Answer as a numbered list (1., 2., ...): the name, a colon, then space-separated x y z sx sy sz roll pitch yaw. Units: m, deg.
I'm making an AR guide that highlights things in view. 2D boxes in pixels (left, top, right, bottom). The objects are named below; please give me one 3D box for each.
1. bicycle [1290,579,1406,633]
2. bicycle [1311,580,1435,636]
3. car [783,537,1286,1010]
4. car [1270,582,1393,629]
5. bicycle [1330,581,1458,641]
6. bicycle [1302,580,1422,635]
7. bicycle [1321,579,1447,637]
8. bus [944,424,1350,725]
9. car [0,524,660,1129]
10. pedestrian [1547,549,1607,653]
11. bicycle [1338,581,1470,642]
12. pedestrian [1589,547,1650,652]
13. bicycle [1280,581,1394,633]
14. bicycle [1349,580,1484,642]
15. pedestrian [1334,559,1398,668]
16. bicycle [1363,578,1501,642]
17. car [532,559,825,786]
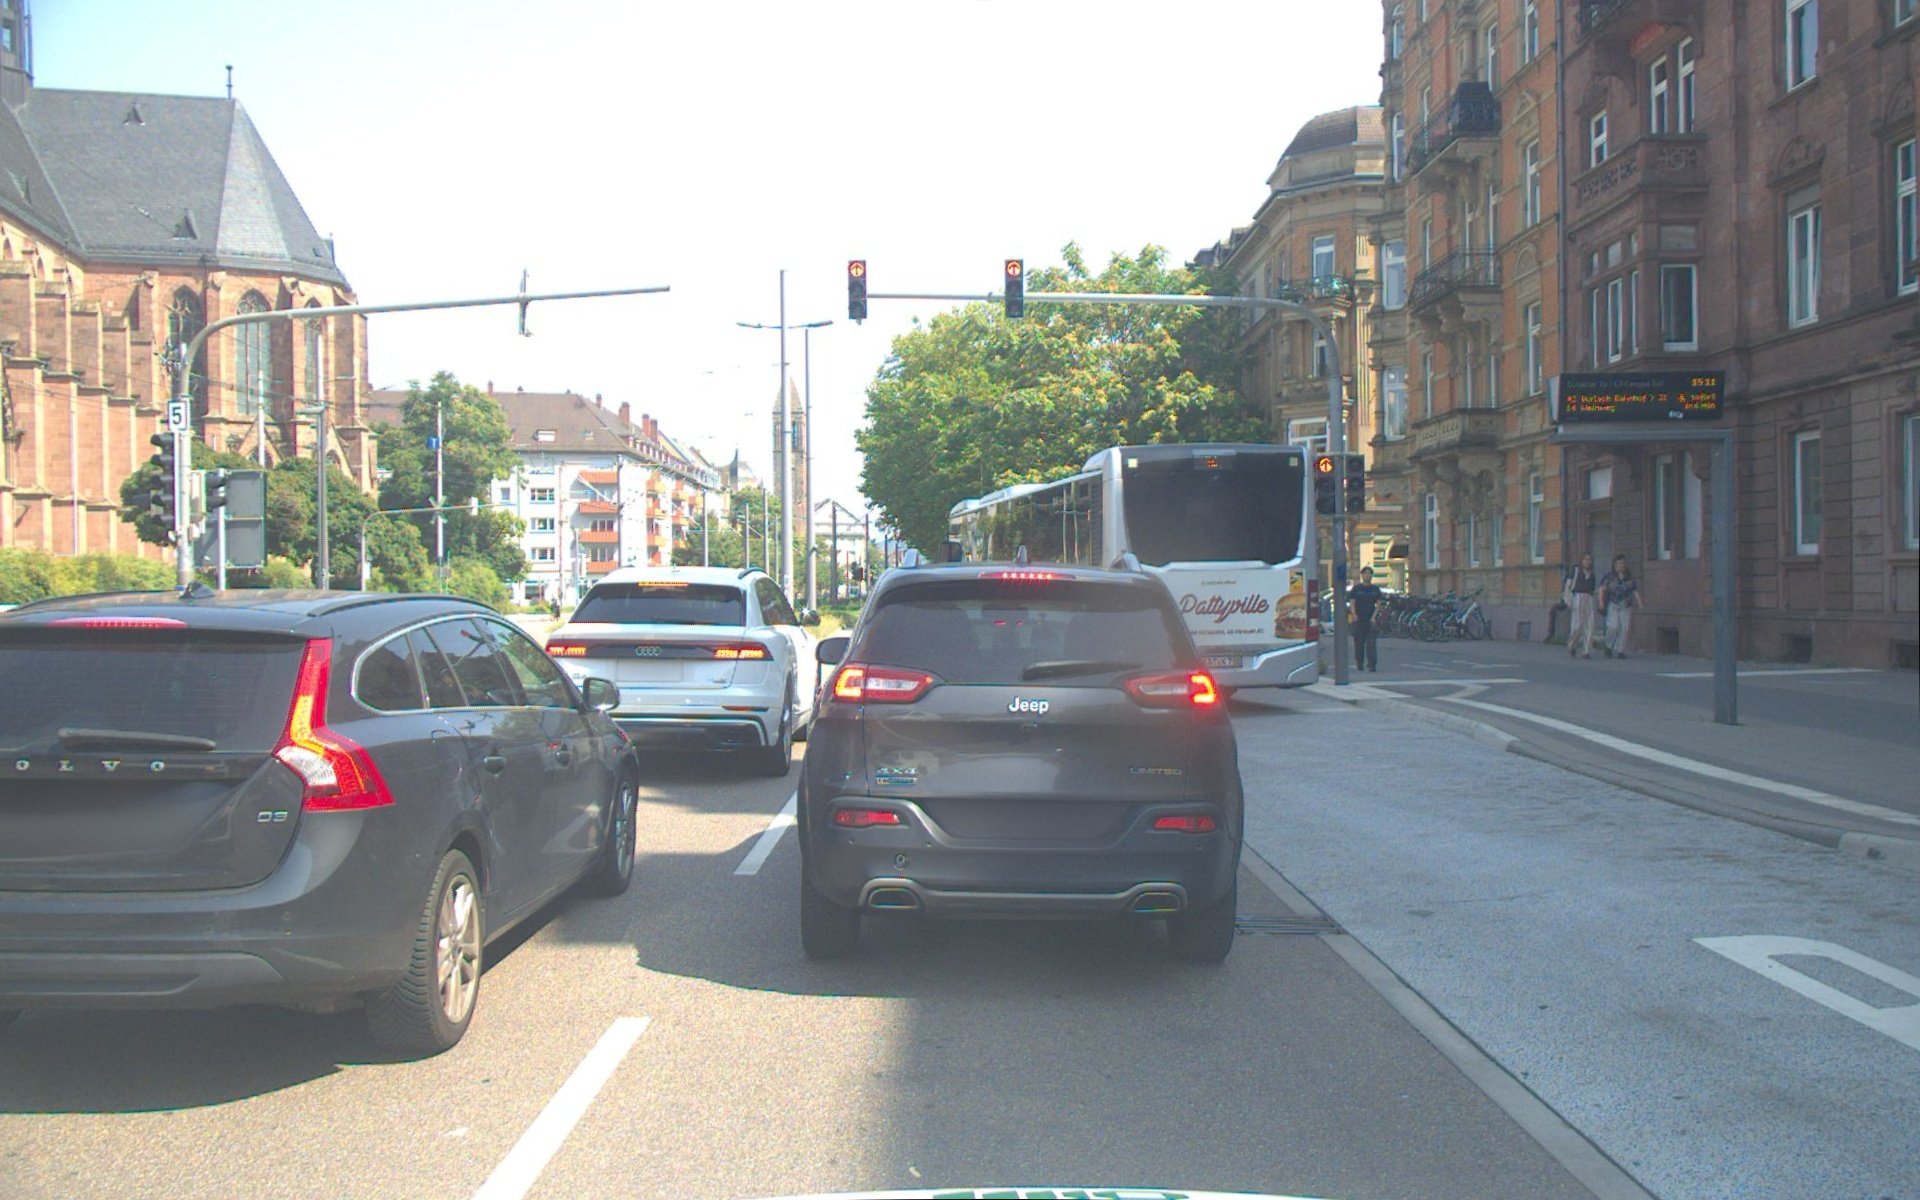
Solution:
1. bicycle: 10.602 0.167 45.283 2.943 1.397 0.947 -1 0 -2
2. bicycle: 10.710 0.197 42.957 2.943 1.397 0.947 -1 0 -2
3. car: 0.284 0.610 8.109 1.795 1.680 4.308 1 0 0
4. car: 12.937 0.189 57.665 3.858 1.547 1.680 -1 0 -8
5. bicycle: 10.728 0.266 40.919 2.933 1.395 0.871 -1 0 -2
6. bicycle: 10.658 0.203 43.967 2.943 1.397 0.947 -1 0 -2
7. bicycle: 10.714 0.208 41.863 2.943 1.397 0.947 -1 0 -2
8. bus: 2.022 -0.263 24.024 2.693 3.161 11.931 -3 0 -9
9. car: -2.438 0.602 6.656 1.712 1.642 4.308 1 0 -1
10. pedestrian: 10.858 0.013 29.113 0.700 1.807 0.847 -1 0 -2
11. bicycle: 10.718 0.275 39.971 2.933 1.395 0.871 -1 0 -2
12. pedestrian: 11.574 -0.005 29.040 0.700 1.809 0.870 -1 0 -2
13. bicycle: 10.548 0.194 46.324 2.943 1.397 0.947 -1 0 -2
14. bicycle: 10.769 0.261 39.059 2.933 1.395 0.871 -1 0 -2
15. pedestrian: 6.820 0.223 27.825 0.879 1.771 0.769 -2 0 6
16. bicycle: 10.873 0.222 38.155 2.933 1.395 0.871 -1 0 -2
17. car: -2.268 0.520 14.469 1.863 1.680 4.308 0 0 -1
